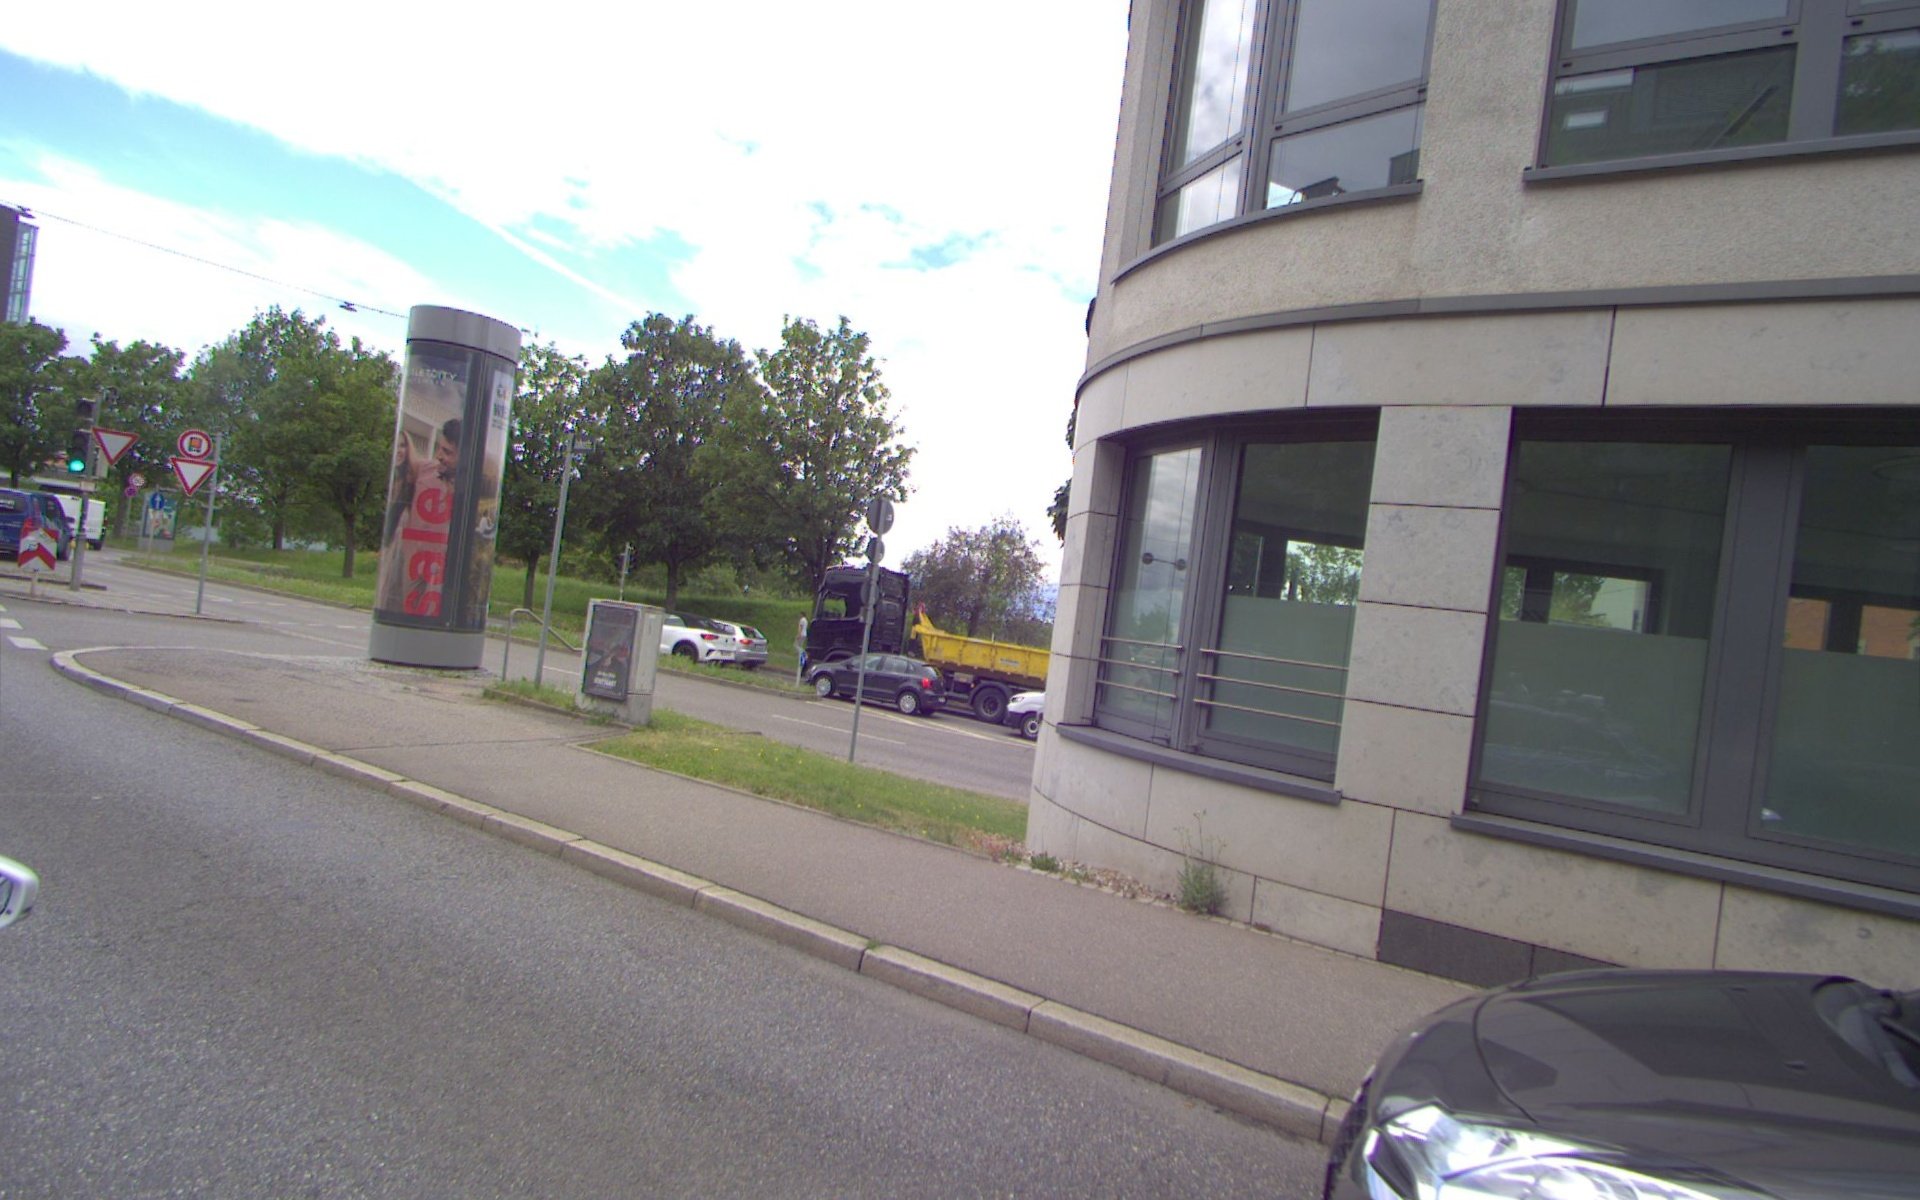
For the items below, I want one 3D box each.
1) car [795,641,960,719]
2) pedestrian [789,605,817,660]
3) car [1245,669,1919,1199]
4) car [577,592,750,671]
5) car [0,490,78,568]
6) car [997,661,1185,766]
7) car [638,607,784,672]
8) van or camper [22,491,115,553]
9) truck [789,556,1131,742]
[{"bbox_3d":[-2.189,2.122,26.884,3.903,1.389,1.656,8,-2,19],"label":"car"},{"bbox_3d":[-5.950,1.228,38.176,0.744,1.943,0.586,9,4,-10],"label":"pedestrian"},{"bbox_3d":[2.539,1.135,1.178,3.994,1.477,1.705,7,-2,31],"label":"car"},{"bbox_3d":[-8.633,0.919,29.322,4.404,1.547,1.858,9,-2,19],"label":"car"},{"bbox_3d":[-26.098,-2.000,27.598,1.890,1.880,4.671,9,-3,-31],"label":"car"},{"bbox_3d":[3.282,2.773,25.027,4.206,1.817,1.758,8,-2,17],"label":"car"},{"bbox_3d":[-8.119,1.297,32.918,4.081,1.458,1.992,8,-2,19],"label":"car"},{"bbox_3d":[-35.403,-3.117,39.923,4.345,1.940,1.993,7,-1,40],"label":"van or camper"},{"bbox_3d":[-0.016,1.373,29.719,9.280,3.969,2.832,8,-2,18],"label":"truck"}]
